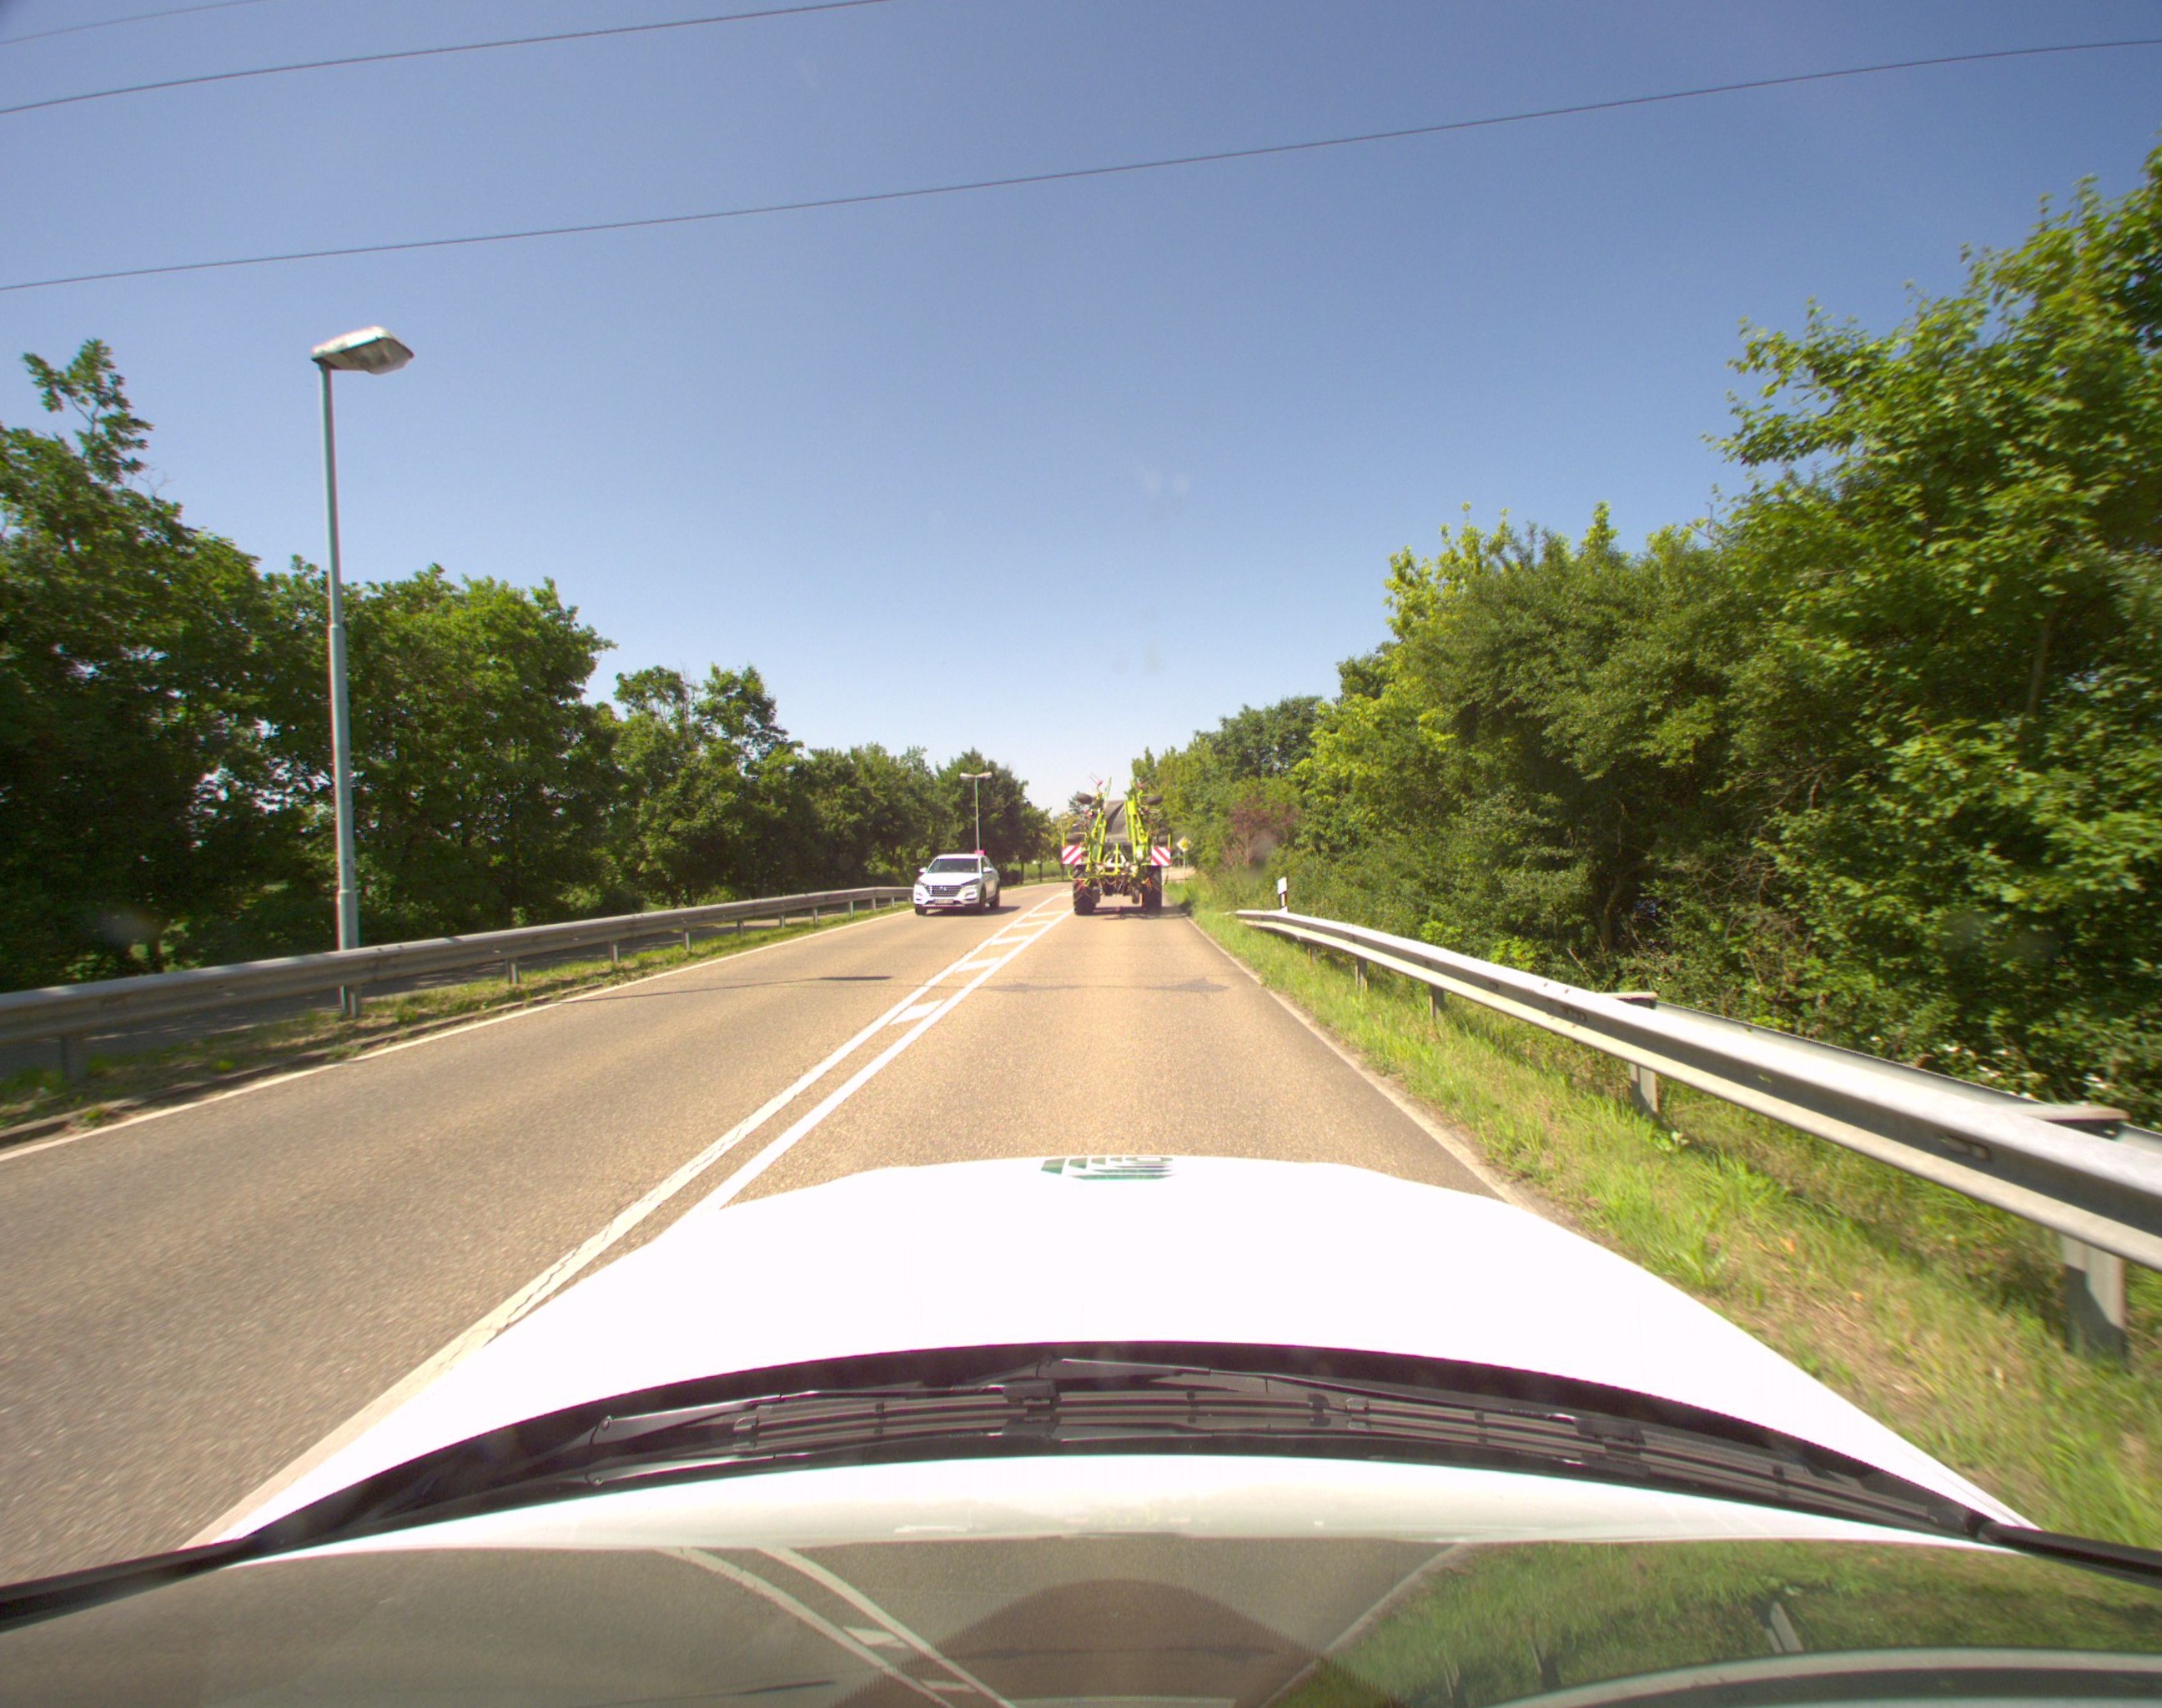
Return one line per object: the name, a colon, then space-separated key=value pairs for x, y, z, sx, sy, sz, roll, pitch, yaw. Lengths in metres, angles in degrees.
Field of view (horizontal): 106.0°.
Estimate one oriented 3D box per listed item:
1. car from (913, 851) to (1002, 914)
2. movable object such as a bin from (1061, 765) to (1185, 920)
car: x=-3.429 y=0.756 z=23.366 sx=1.817 sy=1.640 sz=4.142 roll=-1 pitch=0 yaw=1
movable object such as a bin: x=1.057 y=-0.245 z=23.636 sx=2.843 sy=3.541 sz=9.702 roll=-1 pitch=0 yaw=1
